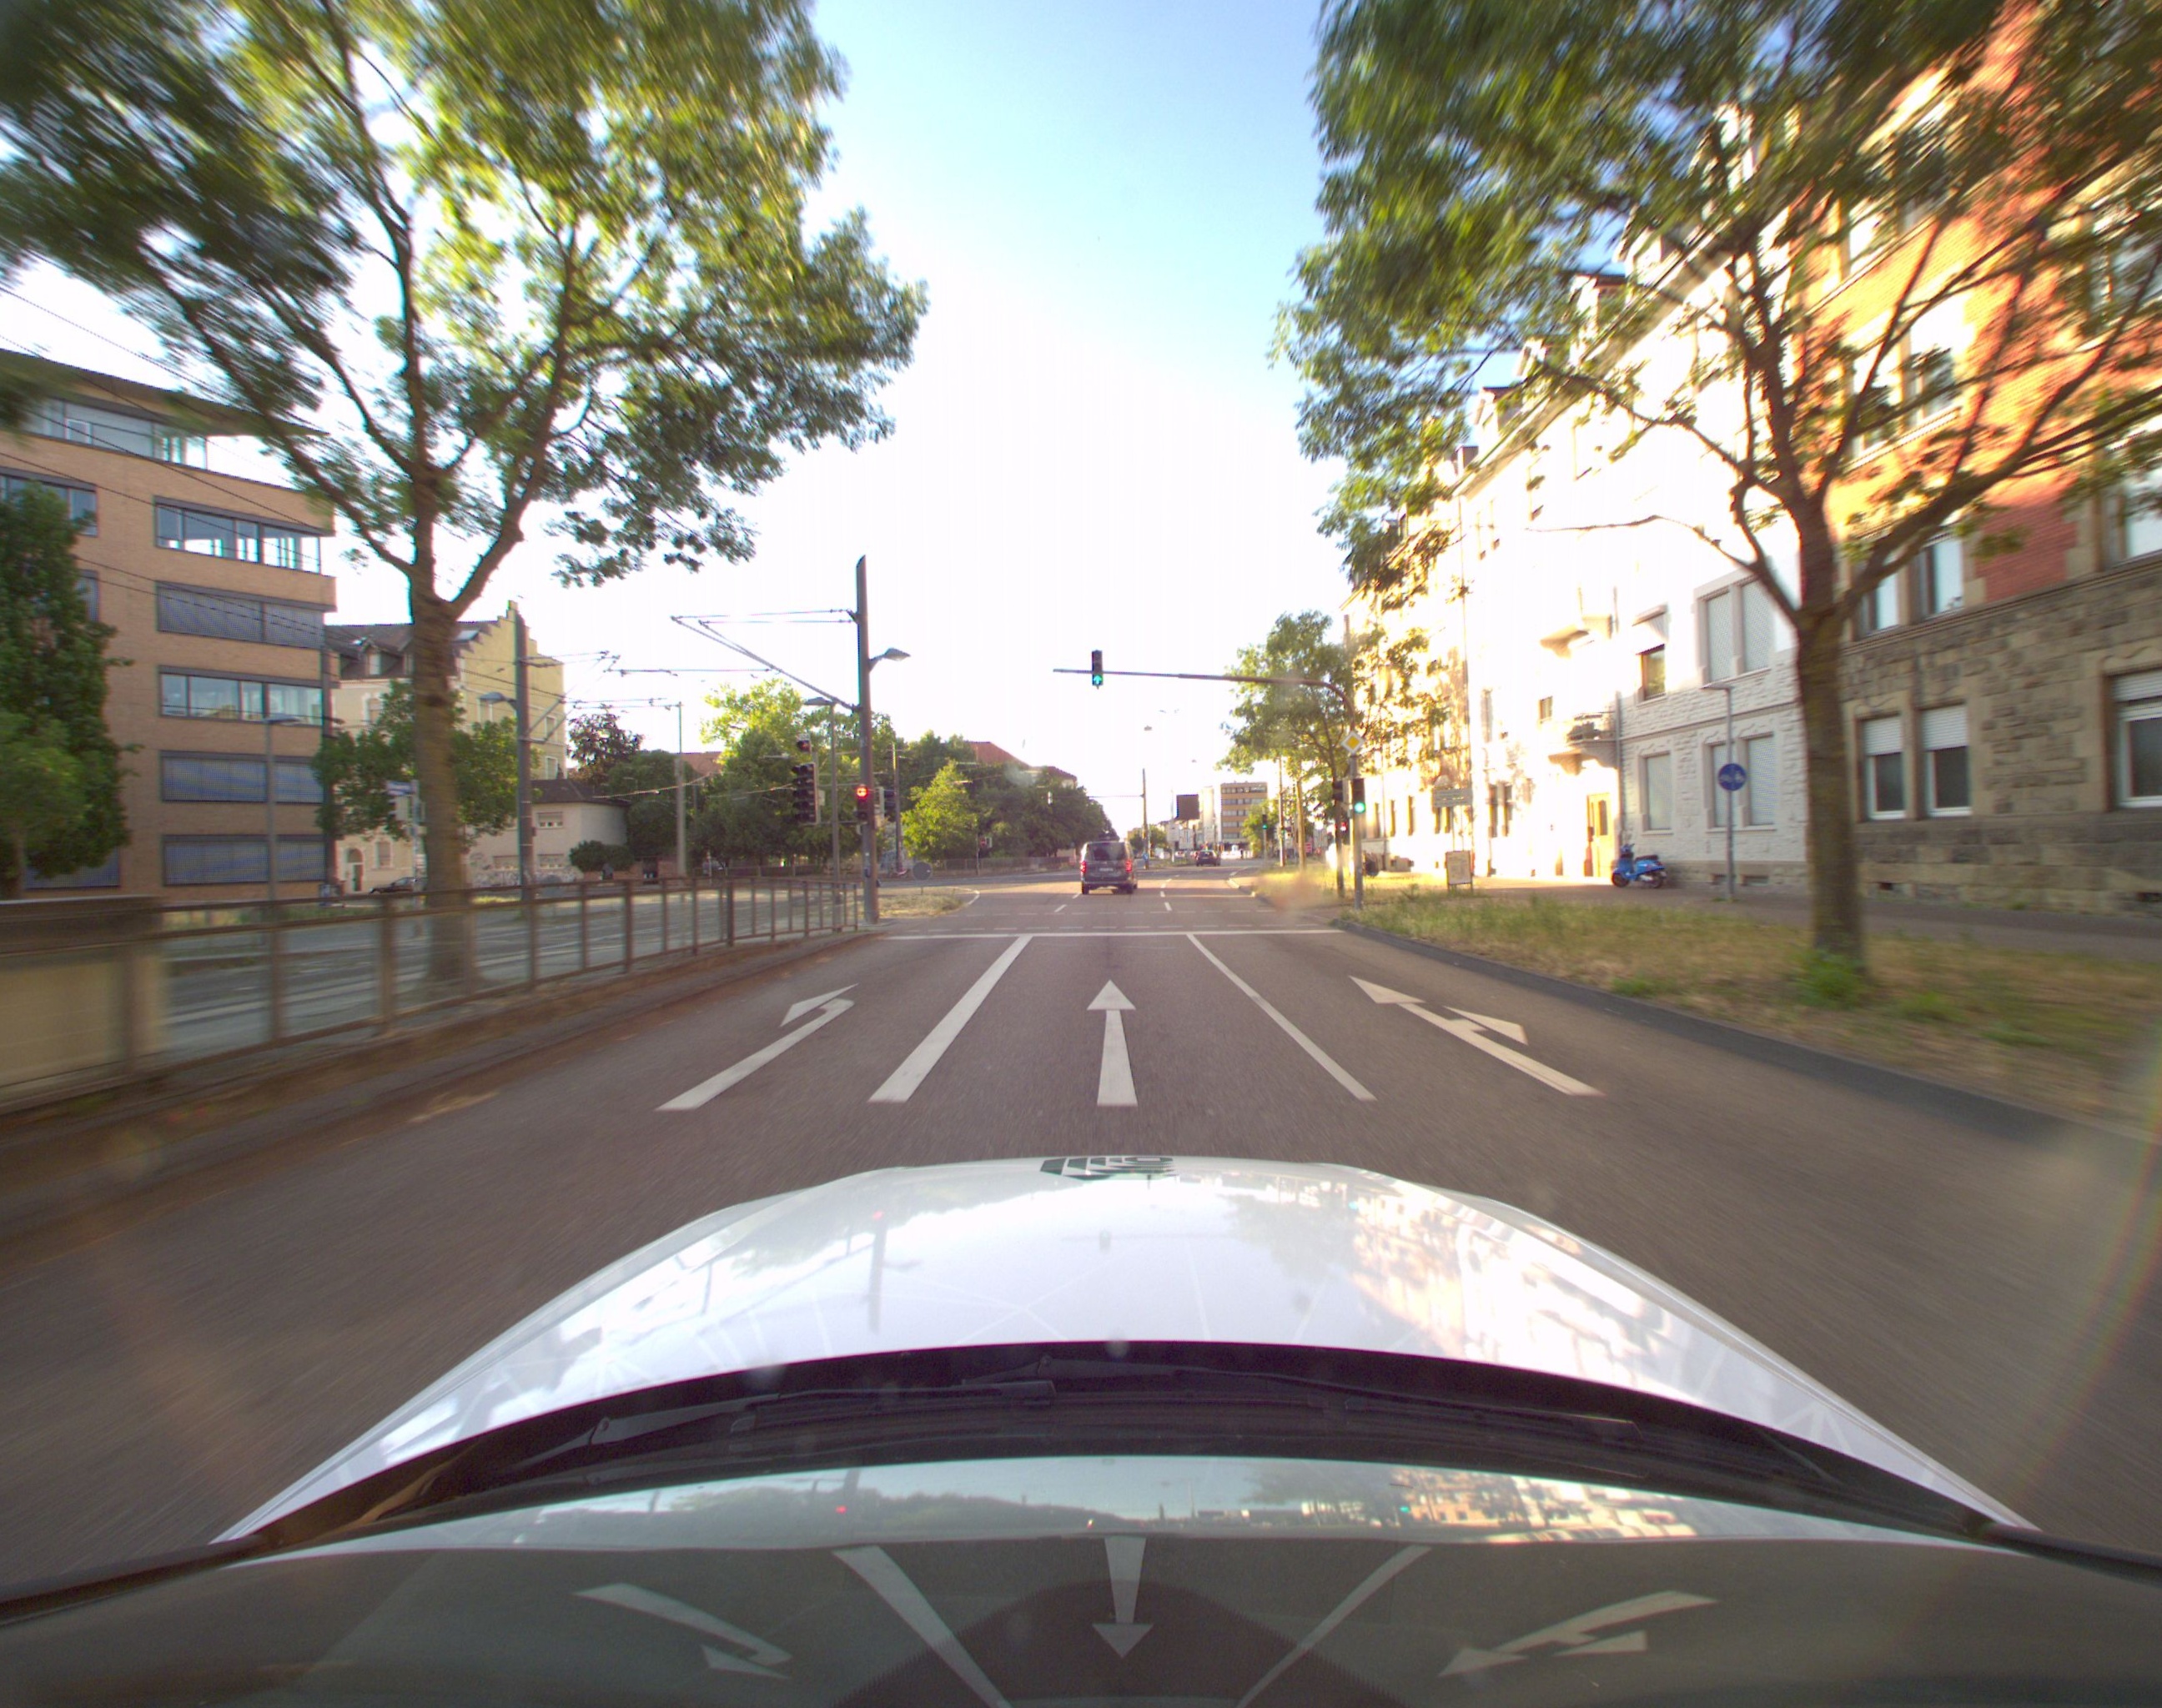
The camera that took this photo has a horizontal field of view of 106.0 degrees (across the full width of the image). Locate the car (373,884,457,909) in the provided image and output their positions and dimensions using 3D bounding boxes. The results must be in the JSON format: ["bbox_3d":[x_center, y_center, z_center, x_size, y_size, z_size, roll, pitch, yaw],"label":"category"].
[{"bbox_3d":[-45.397,2.864,55.575,3.973,1.486,2.000,-2,0,0],"label":"car"}]

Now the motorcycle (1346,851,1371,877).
[{"bbox_3d":[11.296,0.392,33.192,0.601,1.044,1.748,-2,0,8],"label":"motorcycle"}]

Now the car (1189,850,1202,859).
[{"bbox_3d":[21.698,0.082,154.874,1.985,1.656,4.302,-2,0,3],"label":"car"}]

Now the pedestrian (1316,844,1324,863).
[{"bbox_3d":[20.755,-0.069,70.630,0.548,1.628,0.702,-2,0,10],"label":"pedestrian"}]

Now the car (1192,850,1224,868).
[{"bbox_3d":[11.304,0.423,72.398,1.829,1.544,3.652,-2,0,24],"label":"car"}]

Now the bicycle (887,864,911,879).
[{"bbox_3d":[-13.999,1.345,62.751,1.731,1.142,0.552,-2,0,-41],"label":"bicycle"}]

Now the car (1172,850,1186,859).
[{"bbox_3d":[19.169,0.174,159.650,1.988,1.656,4.297,-2,0,-1],"label":"car"}]

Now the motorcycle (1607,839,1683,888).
[{"bbox_3d":[14.771,0.245,21.396,0.552,1.214,2.072,0,0,0],"label":"motorcycle"}]

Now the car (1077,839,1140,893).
[{"bbox_3d":[1.106,0.420,30.654,1.983,1.900,4.307,0,0,7],"label":"car"}]

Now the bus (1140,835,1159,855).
[{"bbox_3d":[16.519,-2.121,197.016,3.281,4.617,9.993,0,0,-2],"label":"bus"}]

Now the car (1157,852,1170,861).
[{"bbox_3d":[16.169,0.477,158.880,1.988,1.656,4.297,-2,0,-1],"label":"car"}]
